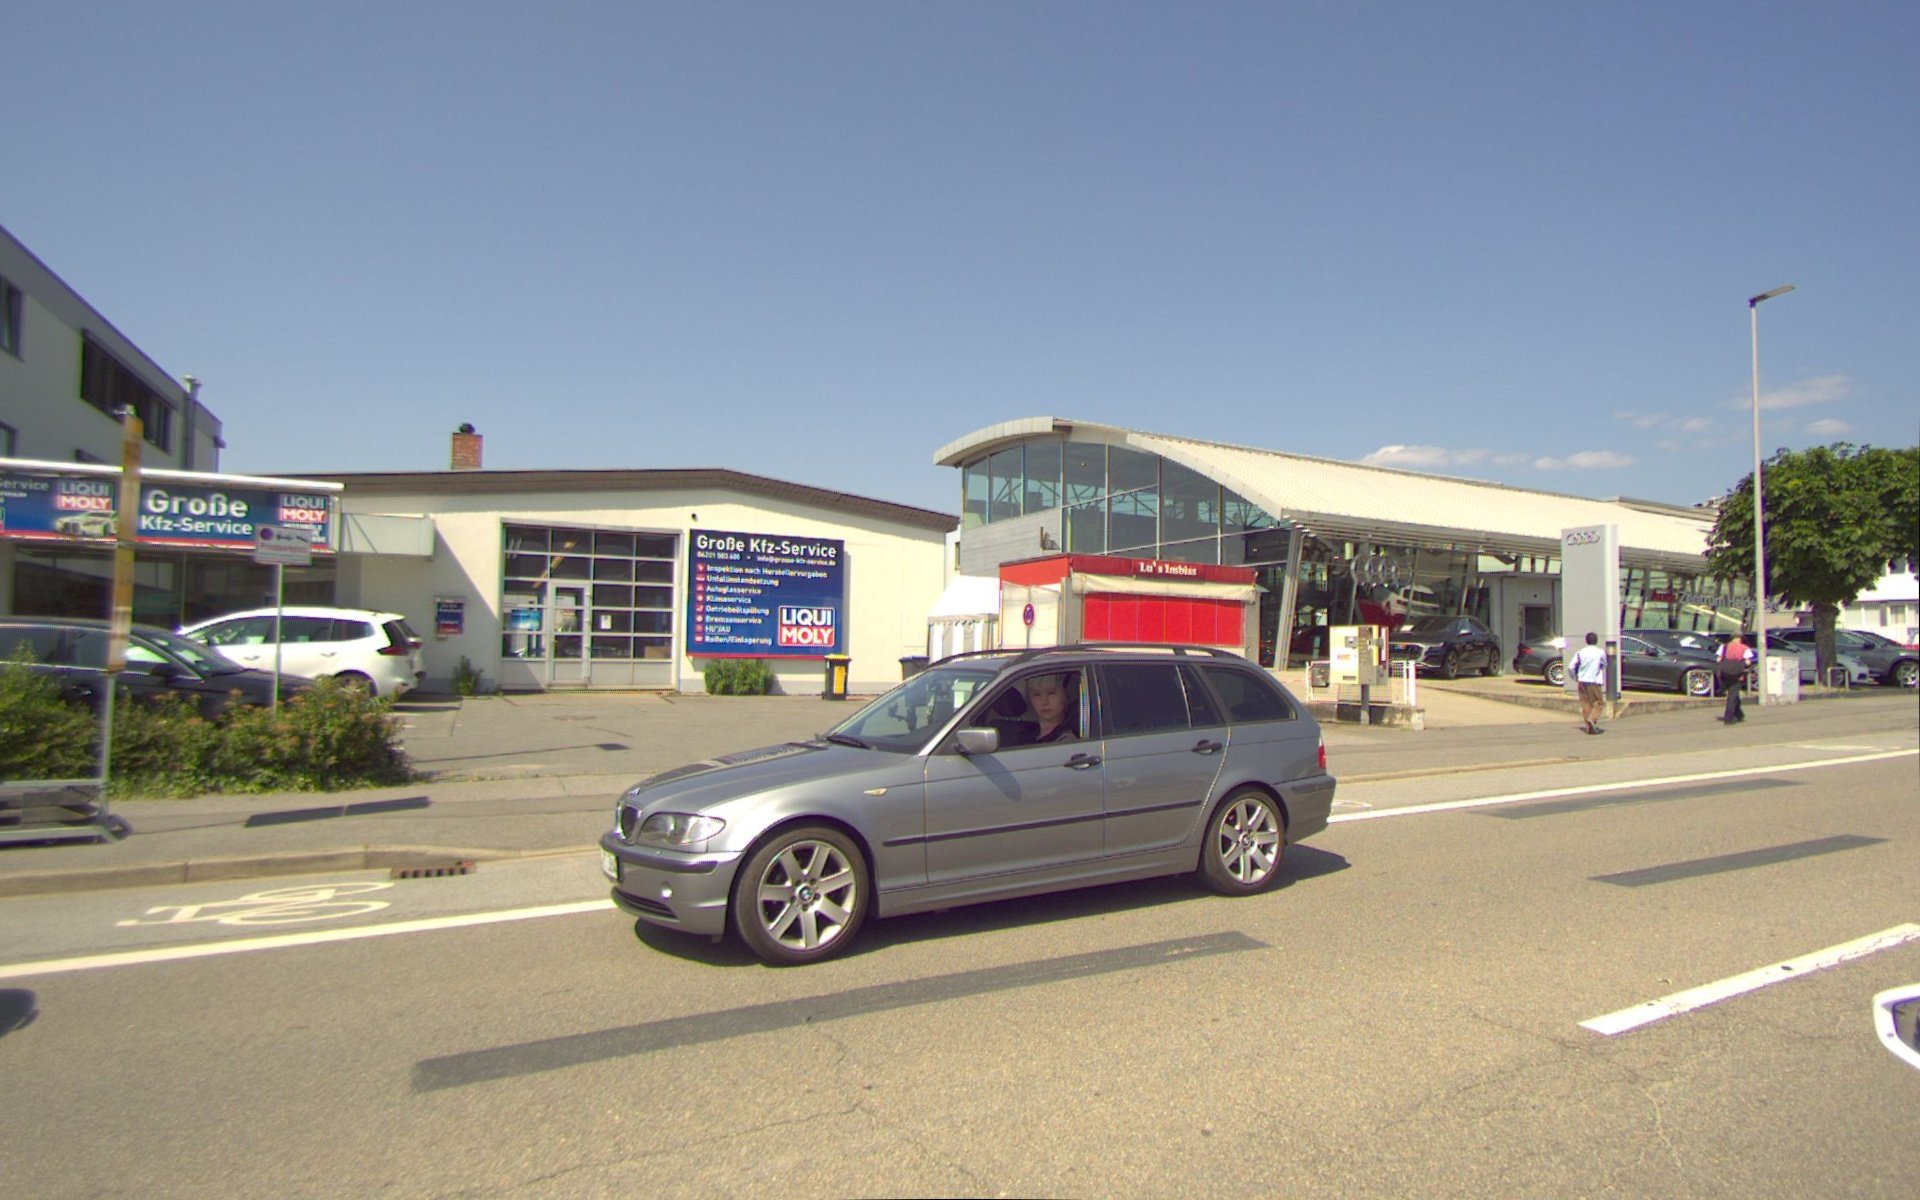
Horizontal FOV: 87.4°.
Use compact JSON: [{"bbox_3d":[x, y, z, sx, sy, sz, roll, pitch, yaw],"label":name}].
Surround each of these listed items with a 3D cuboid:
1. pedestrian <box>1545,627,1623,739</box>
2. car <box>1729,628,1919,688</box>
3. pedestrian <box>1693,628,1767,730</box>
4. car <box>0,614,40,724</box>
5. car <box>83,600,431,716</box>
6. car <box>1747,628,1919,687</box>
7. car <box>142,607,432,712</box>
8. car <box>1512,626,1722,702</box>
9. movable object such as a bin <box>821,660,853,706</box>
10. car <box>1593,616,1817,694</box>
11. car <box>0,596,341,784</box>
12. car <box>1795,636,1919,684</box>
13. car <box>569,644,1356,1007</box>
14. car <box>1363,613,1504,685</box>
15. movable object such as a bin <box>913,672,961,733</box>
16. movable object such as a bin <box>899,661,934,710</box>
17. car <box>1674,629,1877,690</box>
[{"bbox_3d":[10.806,1.423,17.411,0.899,1.872,0.721,1,-3,-24],"label":"pedestrian"},{"bbox_3d":[26.116,1.704,30.172,4.495,1.719,1.857,-1,-2,27],"label":"car"},{"bbox_3d":[14.661,1.485,19.123,1.035,1.892,0.729,1,-3,-30],"label":"pedestrian"},{"bbox_3d":[-14.647,0.874,12.440,4.359,1.439,1.902,1,-3,-26],"label":"car"},{"bbox_3d":[-11.544,1.030,16.954,4.417,1.730,1.903,3,-4,-24],"label":"car"},{"bbox_3d":[28.288,1.810,32.281,4.398,1.730,1.909,0,-1,27],"label":"car"},{"bbox_3d":[-12.753,1.126,19.433,4.359,1.840,1.902,1,-3,-26],"label":"car"},{"bbox_3d":[16.079,1.536,24.878,4.083,1.478,1.906,4,-1,27],"label":"car"},{"bbox_3d":[-2.916,1.964,23.877,0.678,1.062,0.586,0,0,-15],"label":"movable object such as a bin"},{"bbox_3d":[19.389,1.379,26.431,4.399,1.631,1.962,2,3,27],"label":"car"},{"bbox_3d":[-8.848,0.891,10.389,3.948,1.737,1.899,1,-3,-26],"label":"car"},{"bbox_3d":[31.319,2.026,34.383,3.930,1.570,1.855,-1,-2,32],"label":"car"},{"bbox_3d":[0.132,1.002,5.821,4.273,1.422,1.734,2,-5,-30],"label":"car"},{"bbox_3d":[13.188,1.329,27.836,4.700,1.742,1.974,2,0,-44],"label":"car"},{"bbox_3d":[-0.386,1.682,16.574,0.678,0.935,0.571,0,0,-15],"label":"movable object such as a bin"},{"bbox_3d":[-0.973,1.904,22.553,0.678,1.057,0.564,0,0,-15],"label":"movable object such as a bin"},{"bbox_3d":[22.789,1.644,28.287,4.125,1.514,1.873,1,-2,27],"label":"car"}]
